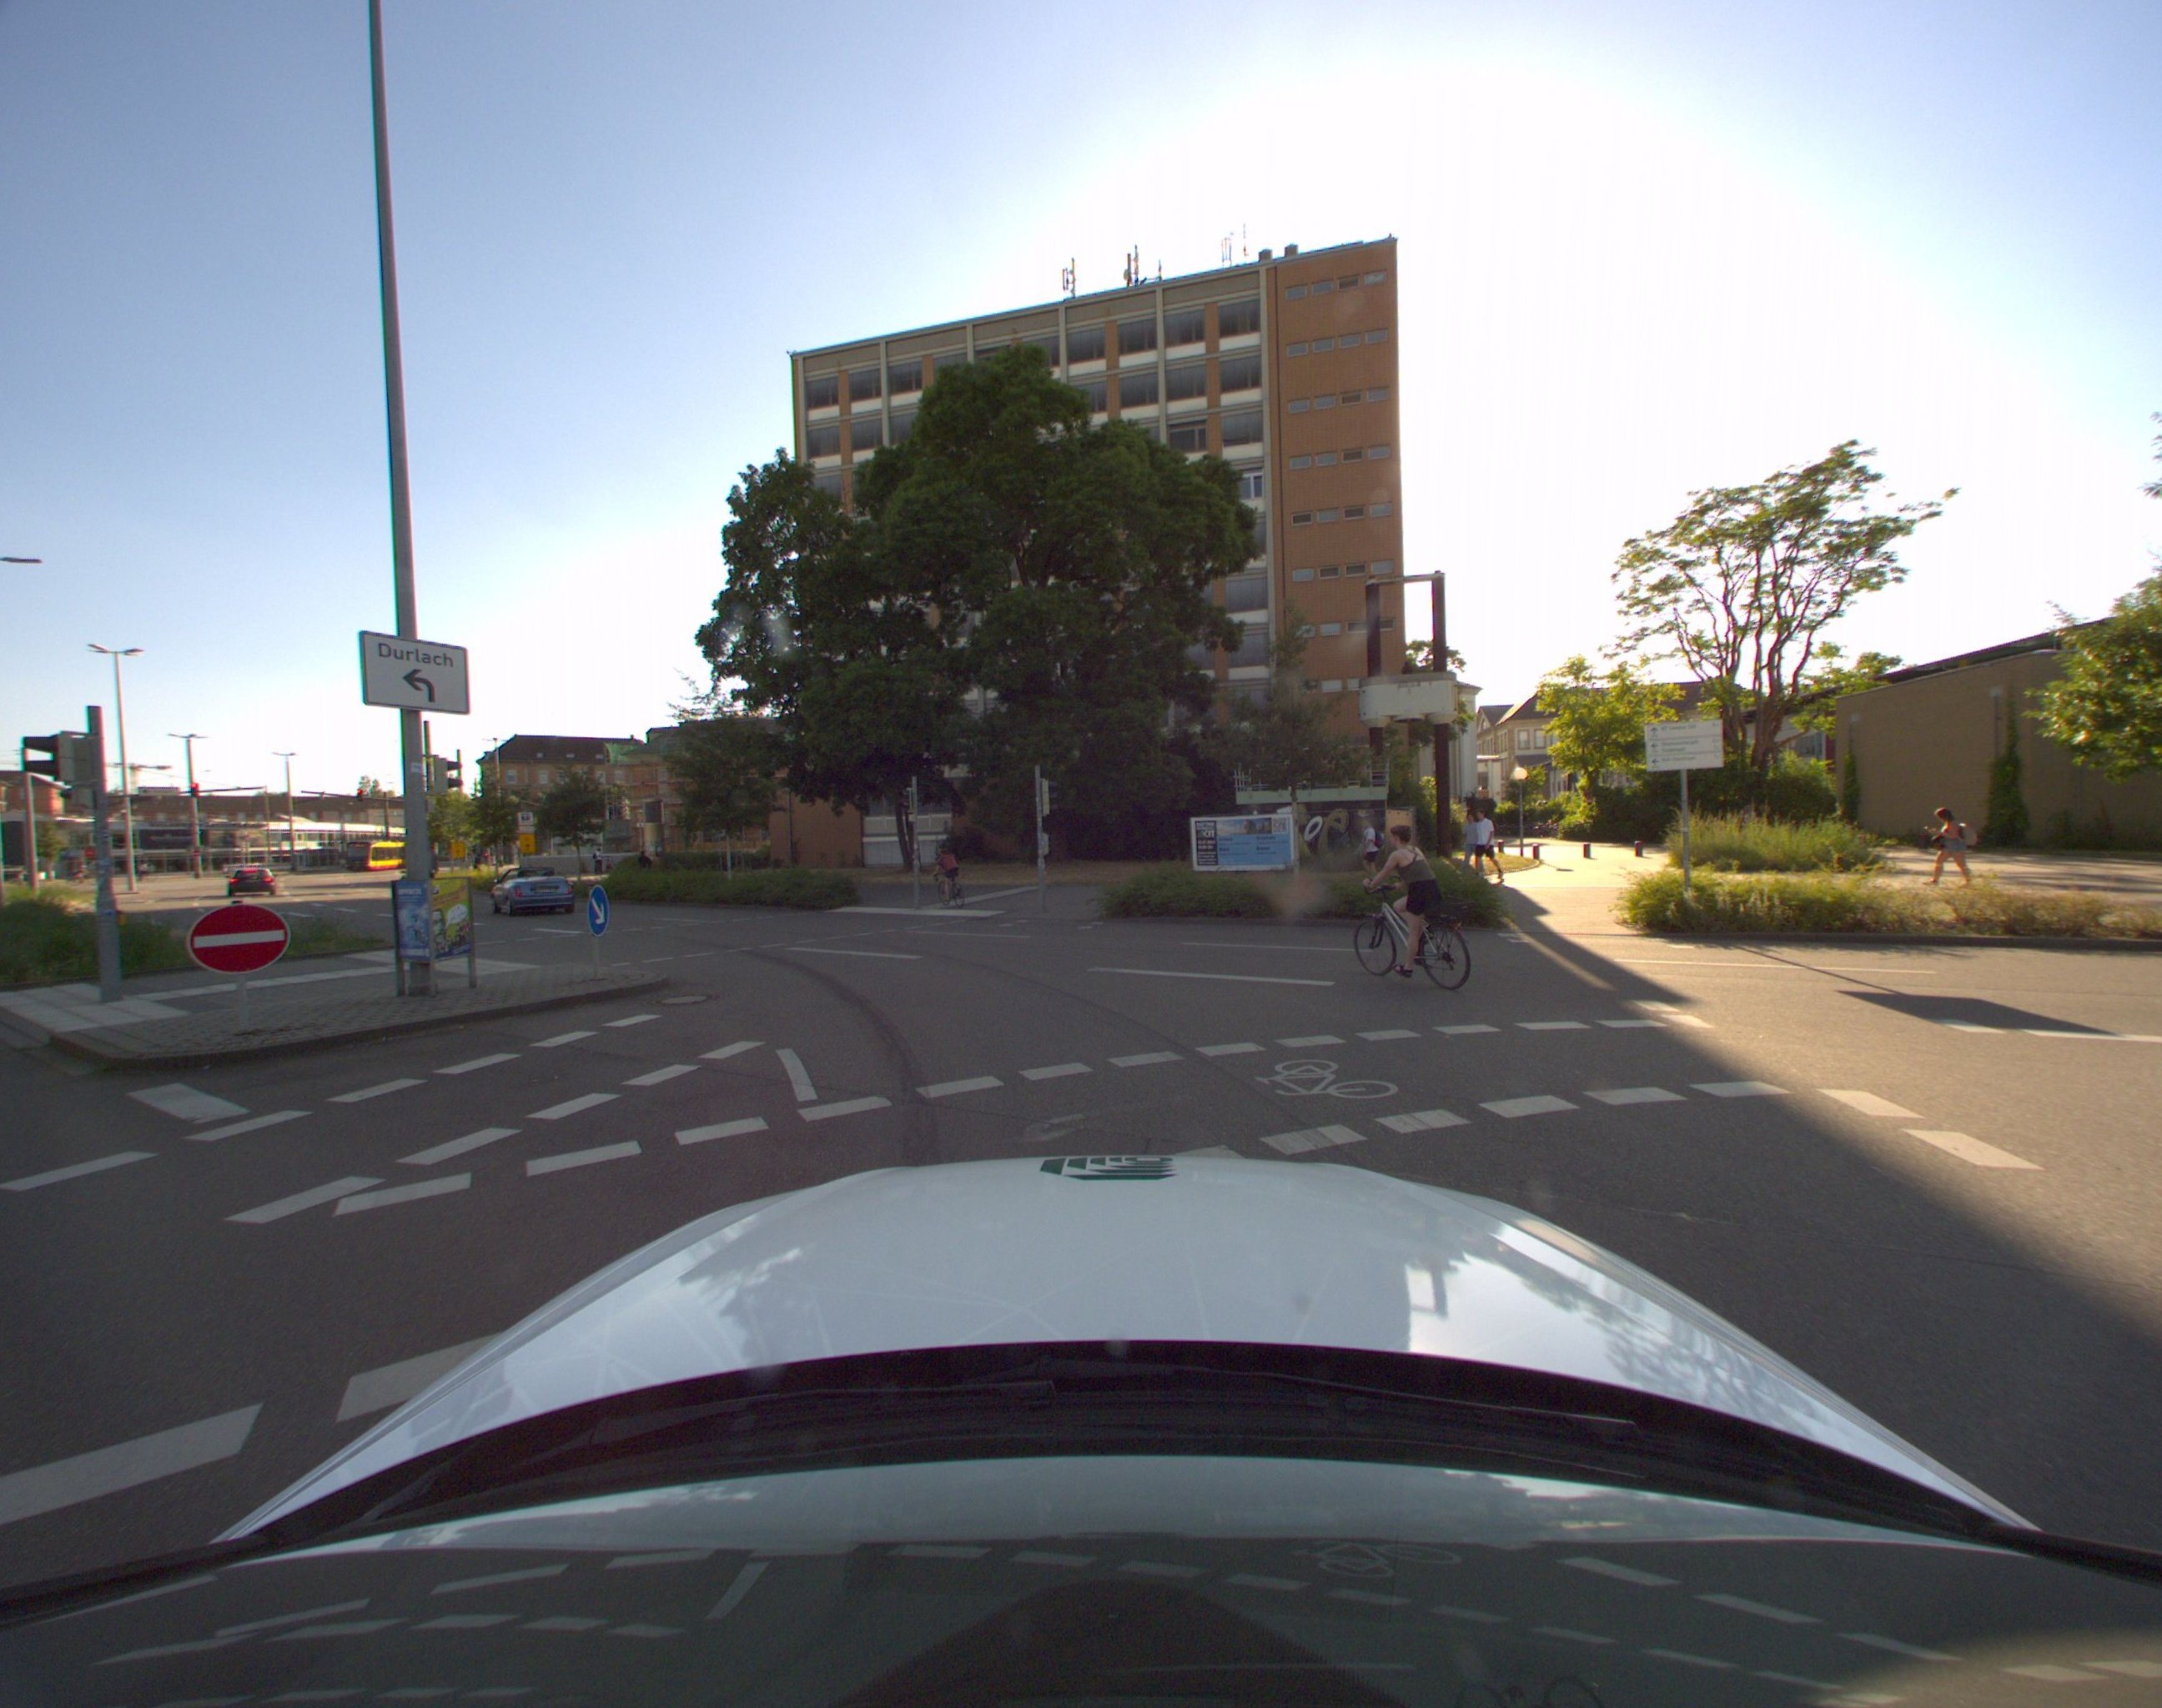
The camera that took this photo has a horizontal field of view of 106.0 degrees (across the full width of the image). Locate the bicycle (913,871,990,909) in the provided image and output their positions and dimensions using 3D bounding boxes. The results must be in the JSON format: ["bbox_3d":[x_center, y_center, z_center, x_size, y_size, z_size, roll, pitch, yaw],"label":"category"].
[{"bbox_3d":[-3.453,0.951,21.582,2.220,0.952,0.726,-3,-1,41],"label":"bicycle"}]

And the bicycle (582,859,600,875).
[{"bbox_3d":[-33.358,0.896,55.427,0.796,1.038,1.941,-5,2,-37],"label":"bicycle"}]

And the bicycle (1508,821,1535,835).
[{"bbox_3d":[33.893,-1.985,62.682,1.780,1.107,0.502,1,2,19],"label":"bicycle"}]

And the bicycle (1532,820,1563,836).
[{"bbox_3d":[32.266,-1.777,56.333,1.780,1.107,0.502,1,2,19],"label":"bicycle"}]

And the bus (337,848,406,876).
[{"bbox_3d":[-79.512,0.810,91.504,2.362,2.883,9.517,-3,1,-19],"label":"bus"}]

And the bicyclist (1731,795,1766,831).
[{"bbox_3d":[27.324,-1.679,33.361,0.909,1.434,0.624,0,2,8],"label":"bicyclist"}]

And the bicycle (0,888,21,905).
[{"bbox_3d":[-64.514,2.554,48.037,0.849,0.905,2.318,1,2,30],"label":"bicycle"}]

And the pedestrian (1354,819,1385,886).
[{"bbox_3d":[7.472,-0.050,21.096,0.622,1.699,0.626,-2,1,28],"label":"pedestrian"}]

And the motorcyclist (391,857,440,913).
[{"bbox_3d":[-21.217,0.961,25.966,1.106,1.721,0.925,-2,0,-44],"label":"motorcyclist"}]

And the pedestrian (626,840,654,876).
[{"bbox_3d":[-21.598,0.191,39.898,0.780,1.658,0.814,-1,4,35],"label":"pedestrian"}]

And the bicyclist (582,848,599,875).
[{"bbox_3d":[-33.356,0.516,55.372,0.793,1.786,0.884,-5,2,-37],"label":"bicyclist"}]

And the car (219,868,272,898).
[{"bbox_3d":[-43.355,1.478,42.331,1.817,1.444,3.929,-1,0,-45],"label":"car"}]

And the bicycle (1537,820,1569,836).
[{"bbox_3d":[31.791,-1.751,54.902,1.780,1.107,0.502,1,2,19],"label":"bicycle"}]

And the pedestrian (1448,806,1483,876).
[{"bbox_3d":[10.584,-0.365,22.425,0.577,1.869,0.618,-3,1,-20],"label":"pedestrian"}]

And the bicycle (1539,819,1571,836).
[{"bbox_3d":[31.490,-1.751,54.146,1.780,1.107,0.502,1,2,19],"label":"bicycle"}]

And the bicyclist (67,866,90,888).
[{"bbox_3d":[-90.690,2.080,73.668,1.109,1.900,1.080,1,2,27],"label":"bicyclist"}]

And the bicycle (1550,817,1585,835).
[{"bbox_3d":[30.271,-1.726,50.714,1.780,1.107,0.502,1,2,19],"label":"bicycle"}]

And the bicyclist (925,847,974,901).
[{"bbox_3d":[-3.499,0.539,21.607,1.062,1.384,0.726,-3,-1,41],"label":"bicyclist"}]

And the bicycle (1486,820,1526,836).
[{"bbox_3d":[35.567,-2.167,68.219,2.848,1.381,0.686,1,2,19],"label":"bicycle"}]

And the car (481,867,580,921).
[{"bbox_3d":[-16.809,1.147,24.791,1.817,1.444,3.929,-1,0,-44],"label":"car"}]

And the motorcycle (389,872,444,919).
[{"bbox_3d":[-21.177,1.283,25.927,1.106,1.377,2.620,-2,0,-44],"label":"motorcycle"}]

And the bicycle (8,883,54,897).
[{"bbox_3d":[-89.747,3.043,69.623,0.849,0.959,2.319,2,4,33],"label":"bicycle"}]

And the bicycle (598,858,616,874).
[{"bbox_3d":[-32.725,0.815,56.209,0.628,1.038,1.950,-4,2,-19],"label":"bicycle"}]

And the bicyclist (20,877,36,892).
[{"bbox_3d":[-89.827,2.594,69.488,0.827,1.143,0.719,1,2,32],"label":"bicyclist"}]

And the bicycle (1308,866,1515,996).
[{"bbox_3d":[3.579,0.769,9.107,0.781,1.156,2.275,-2,2,-21],"label":"bicycle"}]

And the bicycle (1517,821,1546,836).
[{"bbox_3d":[33.240,-1.901,60.133,1.780,1.107,0.502,1,2,19],"label":"bicycle"}]

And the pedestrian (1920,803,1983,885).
[{"bbox_3d":[17.285,-0.198,16.188,0.632,1.574,0.626,-2,1,19],"label":"pedestrian"}]

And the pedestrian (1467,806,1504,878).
[{"bbox_3d":[10.815,-0.332,21.781,0.577,1.869,0.618,-3,1,-20],"label":"pedestrian"}]

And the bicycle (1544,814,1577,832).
[{"bbox_3d":[30.939,-1.987,52.534,1.780,1.107,0.502,1,2,19],"label":"bicycle"}]

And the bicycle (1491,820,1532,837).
[{"bbox_3d":[34.987,-2.102,66.254,2.848,1.381,0.686,1,2,19],"label":"bicycle"}]

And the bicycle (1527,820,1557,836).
[{"bbox_3d":[32.694,-1.823,57.737,1.780,1.107,0.502,1,2,19],"label":"bicycle"}]

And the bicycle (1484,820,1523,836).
[{"bbox_3d":[35.823,-2.194,69.054,2.848,1.381,0.686,1,2,19],"label":"bicycle"}]

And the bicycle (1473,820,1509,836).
[{"bbox_3d":[37.379,-2.364,74.218,2.848,1.381,0.686,1,2,19],"label":"bicycle"}]

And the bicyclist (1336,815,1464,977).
[{"bbox_3d":[3.554,0.420,9.128,0.781,1.677,1.085,-2,2,-22],"label":"bicyclist"}]

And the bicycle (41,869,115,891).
[{"bbox_3d":[-90.661,2.352,73.687,1.125,1.689,4.024,1,2,27],"label":"bicycle"}]
